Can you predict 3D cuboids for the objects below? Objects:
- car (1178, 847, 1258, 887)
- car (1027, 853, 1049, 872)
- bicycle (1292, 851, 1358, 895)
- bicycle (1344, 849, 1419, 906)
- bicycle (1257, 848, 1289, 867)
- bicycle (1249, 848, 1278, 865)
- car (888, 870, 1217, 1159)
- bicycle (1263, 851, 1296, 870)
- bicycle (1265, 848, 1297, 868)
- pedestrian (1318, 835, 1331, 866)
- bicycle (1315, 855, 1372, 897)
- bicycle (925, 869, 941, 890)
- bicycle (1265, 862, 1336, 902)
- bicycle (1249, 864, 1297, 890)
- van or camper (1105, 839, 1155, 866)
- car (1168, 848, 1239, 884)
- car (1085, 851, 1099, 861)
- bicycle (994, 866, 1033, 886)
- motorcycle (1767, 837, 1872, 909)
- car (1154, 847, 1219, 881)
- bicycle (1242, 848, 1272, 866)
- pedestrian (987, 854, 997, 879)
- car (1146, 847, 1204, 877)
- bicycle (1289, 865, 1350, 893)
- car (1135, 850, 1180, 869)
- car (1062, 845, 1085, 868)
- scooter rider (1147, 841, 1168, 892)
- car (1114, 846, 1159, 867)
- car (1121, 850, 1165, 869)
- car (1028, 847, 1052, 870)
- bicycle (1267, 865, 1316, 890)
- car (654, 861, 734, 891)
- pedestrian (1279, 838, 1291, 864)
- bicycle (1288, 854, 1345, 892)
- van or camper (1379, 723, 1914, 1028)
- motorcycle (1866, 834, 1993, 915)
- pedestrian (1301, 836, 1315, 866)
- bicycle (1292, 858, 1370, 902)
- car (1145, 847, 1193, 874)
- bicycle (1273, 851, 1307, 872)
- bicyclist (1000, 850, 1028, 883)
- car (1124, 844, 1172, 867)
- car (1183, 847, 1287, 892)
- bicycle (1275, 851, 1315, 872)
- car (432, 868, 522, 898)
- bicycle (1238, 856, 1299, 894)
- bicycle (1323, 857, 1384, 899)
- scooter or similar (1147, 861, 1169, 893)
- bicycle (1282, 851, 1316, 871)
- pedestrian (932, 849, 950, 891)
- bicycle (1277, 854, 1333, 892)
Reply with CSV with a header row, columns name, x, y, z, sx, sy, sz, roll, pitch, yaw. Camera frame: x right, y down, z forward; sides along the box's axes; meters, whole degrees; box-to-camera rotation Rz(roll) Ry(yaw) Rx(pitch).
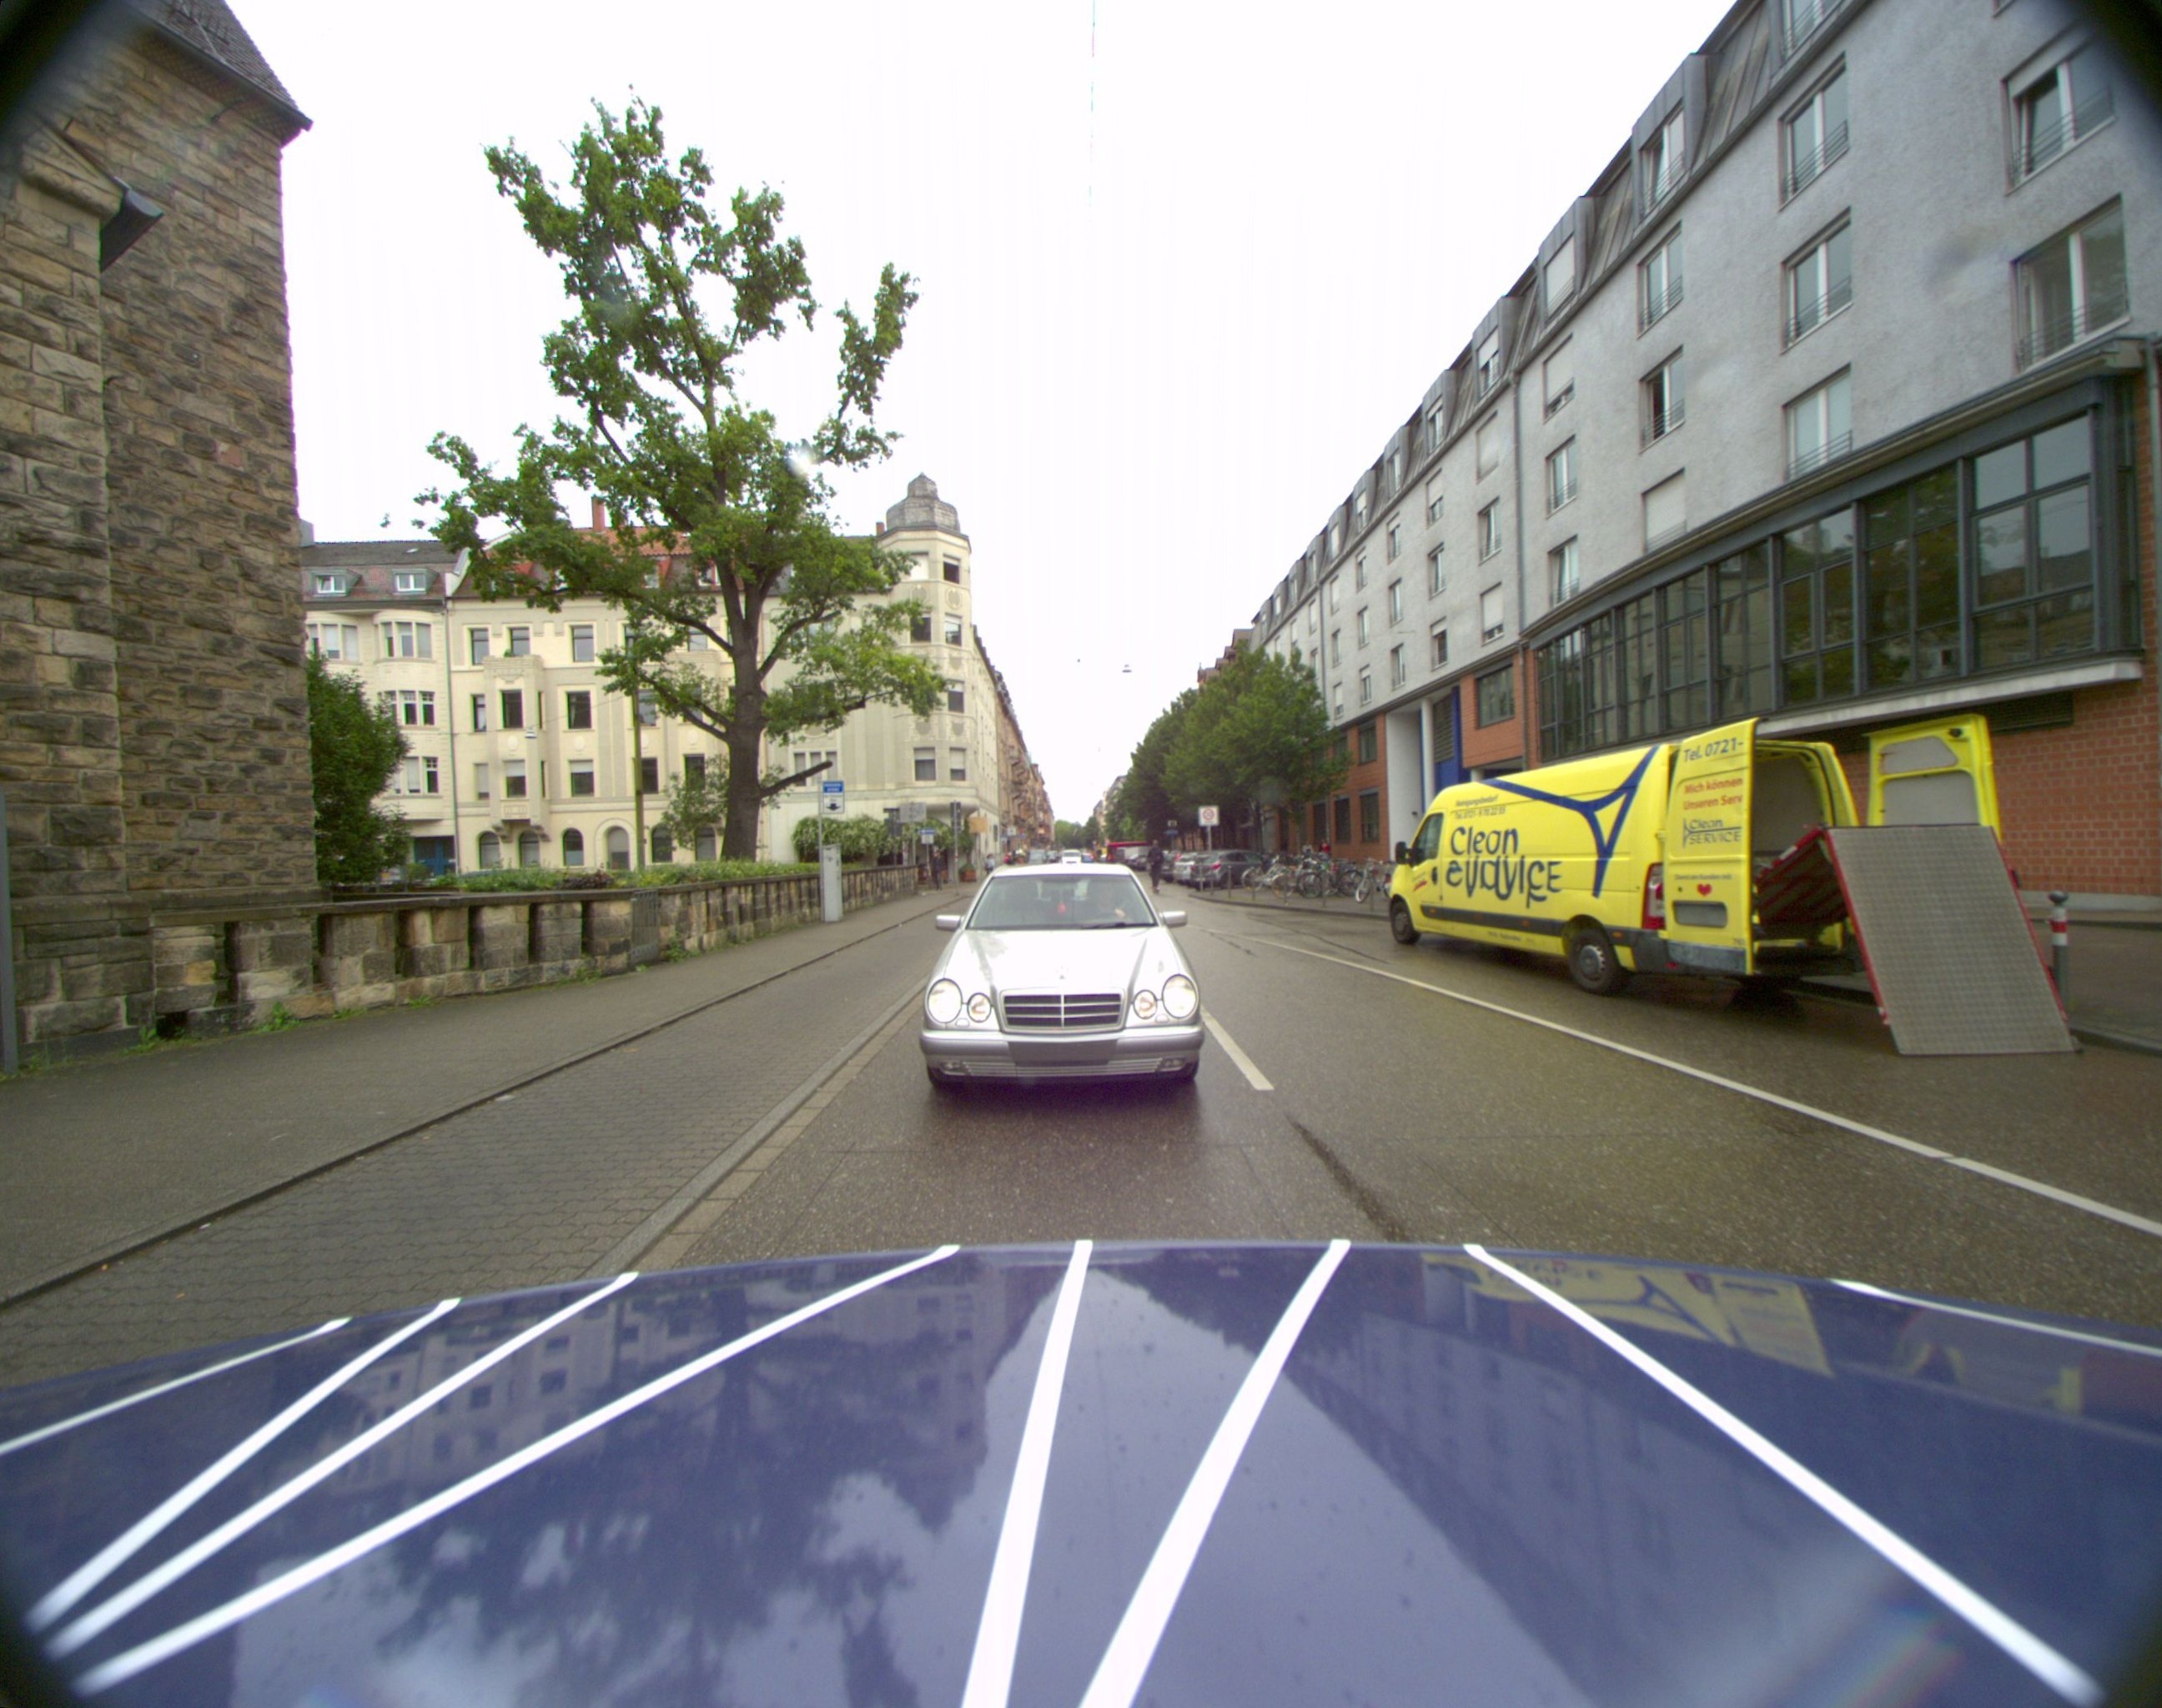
name,x,y,z,sx,sy,sz,roll,pitch,yaw
car,5.788,0.541,31.981,3.083,1.494,1.449,-3,1,-31
car,-3.144,0.635,56.434,1.447,1.348,3.204,-1,0,0
bicycle,7.251,0.562,22.545,1.815,1.187,0.519,-3,1,-13
bicycle,7.553,0.561,19.038,1.922,1.209,0.768,-6,3,-35
bicycle,10.555,0.195,41.803,1.590,0.979,0.465,-2,1,-8
bicycle,10.787,0.135,44.973,1.590,0.979,0.465,-2,1,-8
car,-0.155,0.926,6.167,1.764,1.420,3.999,-2,0,0
bicycle,10.463,0.341,40.019,1.590,0.979,0.445,-2,1,-8
bicycle,10.672,0.213,40.639,1.590,0.979,0.445,-2,1,-8
pedestrian,12.796,-0.168,39.965,0.514,1.601,0.425,-2,1,1
bicycle,7.468,0.626,21.688,1.461,1.096,0.462,-3,1,14
bicycle,-7.317,1.239,37.668,0.390,0.888,2.023,-1,3,0
bicycle,6.127,0.770,21.247,1.800,0.987,0.520,-3,1,-2
bicycle,6.556,0.790,26.009,1.473,0.800,0.497,-3,1,3
van or camper,4.958,-0.126,76.587,4.604,2.597,1.999,-1,1,-27
car,5.597,0.534,34.590,3.084,1.494,1.449,-3,1,-40
car,1.382,0.275,98.196,1.651,1.301,3.311,-1,0,-3
bicycle,-3.188,1.038,36.115,1.784,0.879,0.535,-2,1,-33
motorcycle,13.064,0.292,13.511,0.524,1.174,2.006,-3,1,19
car,5.235,0.489,37.474,3.084,1.543,1.449,-3,1,-40
bicycle,10.202,0.163,44.078,1.590,0.979,0.465,-2,1,-8
pedestrian,-5.068,0.708,43.196,0.482,1.452,0.392,-1,1,-1
car,5.355,0.459,43.214,2.985,1.546,1.369,-3,1,-29
bicycle,7.268,0.754,23.137,1.773,0.757,0.456,-3,1,-13
car,6.123,0.416,60.408,1.685,1.482,3.799,0,1,40
car,-0.646,0.183,69.742,1.998,2.002,4.000,-1,1,1
scooter rider,2.934,0.459,29.180,0.712,1.924,0.503,-1,1,-2
car,5.182,0.222,70.666,4.338,1.822,1.571,-1,1,-41
car,5.184,0.445,62.923,1.685,1.482,3.799,0,1,40
car,-3.315,0.316,61.503,1.726,1.794,3.462,-1,0,0
bicycle,7.036,0.783,25.382,1.473,0.717,0.497,-3,1,3
car,-19.258,1.089,37.881,3.270,1.401,1.448,-1,1,3
pedestrian,12.509,-0.207,46.688,0.571,1.588,0.533,-2,1,1
bicycle,7.371,0.585,23.793,1.611,1.099,0.519,-3,1,-13
van or camper,6.049,0.169,9.517,2.202,2.596,5.941,-1,0,-1
motorcycle,13.255,0.288,11.936,0.524,1.174,1.760,-3,1,19
pedestrian,11.994,-0.160,40.190,0.605,1.601,0.372,-2,1,-1
bicycle,6.704,0.688,20.408,1.858,1.067,0.609,-3,1,5
car,5.325,0.389,45.971,2.685,1.546,1.148,-3,1,-29
bicycle,10.470,0.377,38.104,1.590,0.979,0.445,-2,1,-8
bicyclist,-3.188,0.595,36.119,1.136,1.521,0.535,-2,1,-33
car,5.972,0.121,67.154,4.338,1.884,1.685,-1,1,-41
car,5.912,0.541,29.054,3.629,1.494,1.736,-3,2,-31
bicycle,10.599,0.383,37.631,1.851,0.979,0.445,-2,1,-8
car,-29.635,1.416,37.318,3.270,1.401,1.448,-1,1,3
bicycle,6.150,0.685,24.933,1.812,1.099,0.472,-3,1,-5
bicycle,7.489,0.649,20.914,1.462,1.058,0.418,-3,1,4
scooter or similar,2.943,0.869,29.164,0.702,1.158,1.385,-1,1,2
bicycle,11.094,0.357,38.649,1.590,0.979,0.445,-2,1,-8
pedestrian,-6.348,0.706,34.479,0.646,1.862,0.693,-1,1,0
bicycle,7.210,0.607,24.439,1.610,1.099,0.520,-3,1,-5
